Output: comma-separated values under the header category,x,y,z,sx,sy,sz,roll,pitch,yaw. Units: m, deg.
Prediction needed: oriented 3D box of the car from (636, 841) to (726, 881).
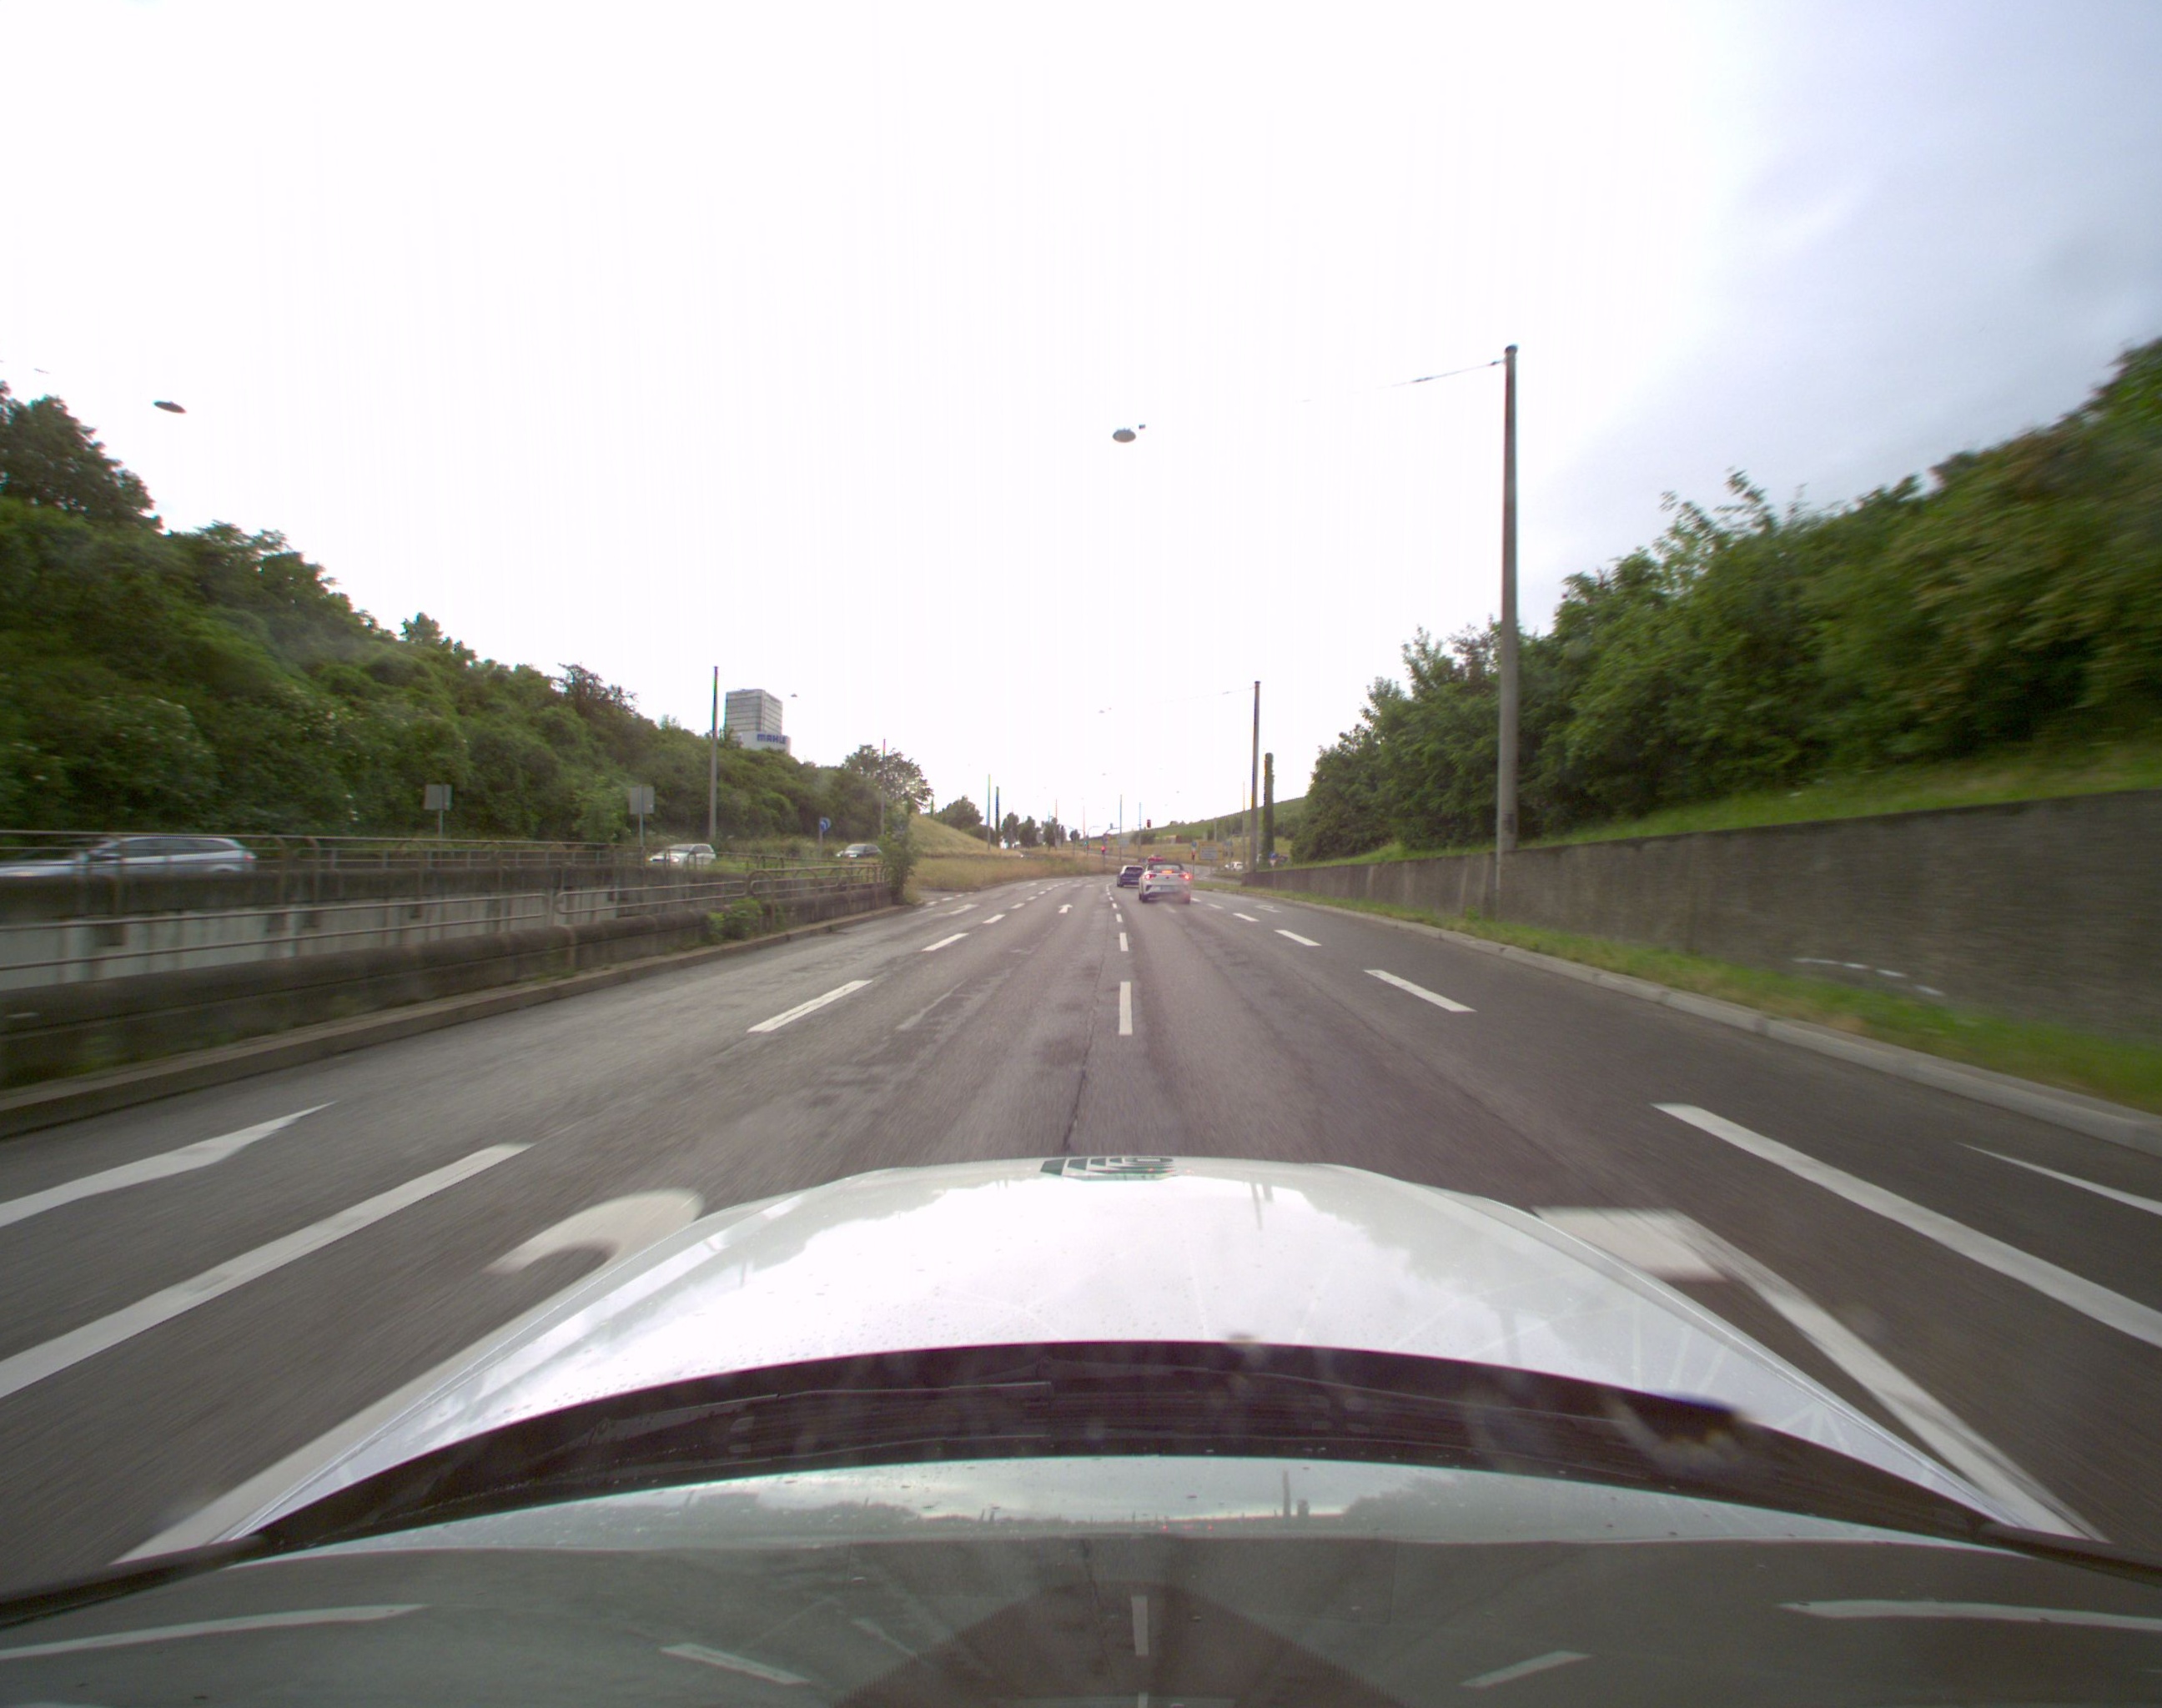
category,x,y,z,sx,sy,sz,roll,pitch,yaw
car,-19.476,0.340,39.913,1.986,1.835,4.632,0,-1,2

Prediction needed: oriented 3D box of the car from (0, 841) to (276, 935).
category,x,y,z,sx,sy,sz,roll,pitch,yaw
car,-20.558,0.673,17.349,1.986,1.721,4.706,-2,0,2

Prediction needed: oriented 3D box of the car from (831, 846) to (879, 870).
category,x,y,z,sx,sy,sz,roll,pitch,yaw
car,-16.637,0.325,60.265,1.986,1.637,4.724,3,-1,2

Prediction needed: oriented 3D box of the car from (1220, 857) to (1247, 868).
category,x,y,z,sx,sy,sz,roll,pitch,yaw
car,23.297,1.250,124.366,2.000,1.500,4.534,0,2,-20

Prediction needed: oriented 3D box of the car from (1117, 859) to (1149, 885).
category,x,y,z,sx,sy,sz,roll,pitch,yaw
car,3.454,1.174,53.459,1.917,1.599,4.067,1,-2,5

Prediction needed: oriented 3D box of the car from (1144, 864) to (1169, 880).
category,x,y,z,sx,sy,sz,roll,pitch,yaw
car,7.823,1.816,84.234,1.761,1.519,3.740,3,0,16

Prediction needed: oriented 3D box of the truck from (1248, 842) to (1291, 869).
category,x,y,z,sx,sy,sz,roll,pitch,yaw
truck,26.508,0.110,115.001,2.859,3.526,6.191,0,2,-22

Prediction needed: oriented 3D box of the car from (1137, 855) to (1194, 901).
category,x,y,z,sx,sy,sz,roll,pitch,yaw
car,3.156,0.896,31.150,1.987,1.579,4.129,2,-1,3

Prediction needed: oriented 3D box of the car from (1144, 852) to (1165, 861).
category,x,y,z,sx,sy,sz,roll,pitch,yaw
car,13.834,0.402,153.262,2.002,1.712,4.528,0,0,-23
